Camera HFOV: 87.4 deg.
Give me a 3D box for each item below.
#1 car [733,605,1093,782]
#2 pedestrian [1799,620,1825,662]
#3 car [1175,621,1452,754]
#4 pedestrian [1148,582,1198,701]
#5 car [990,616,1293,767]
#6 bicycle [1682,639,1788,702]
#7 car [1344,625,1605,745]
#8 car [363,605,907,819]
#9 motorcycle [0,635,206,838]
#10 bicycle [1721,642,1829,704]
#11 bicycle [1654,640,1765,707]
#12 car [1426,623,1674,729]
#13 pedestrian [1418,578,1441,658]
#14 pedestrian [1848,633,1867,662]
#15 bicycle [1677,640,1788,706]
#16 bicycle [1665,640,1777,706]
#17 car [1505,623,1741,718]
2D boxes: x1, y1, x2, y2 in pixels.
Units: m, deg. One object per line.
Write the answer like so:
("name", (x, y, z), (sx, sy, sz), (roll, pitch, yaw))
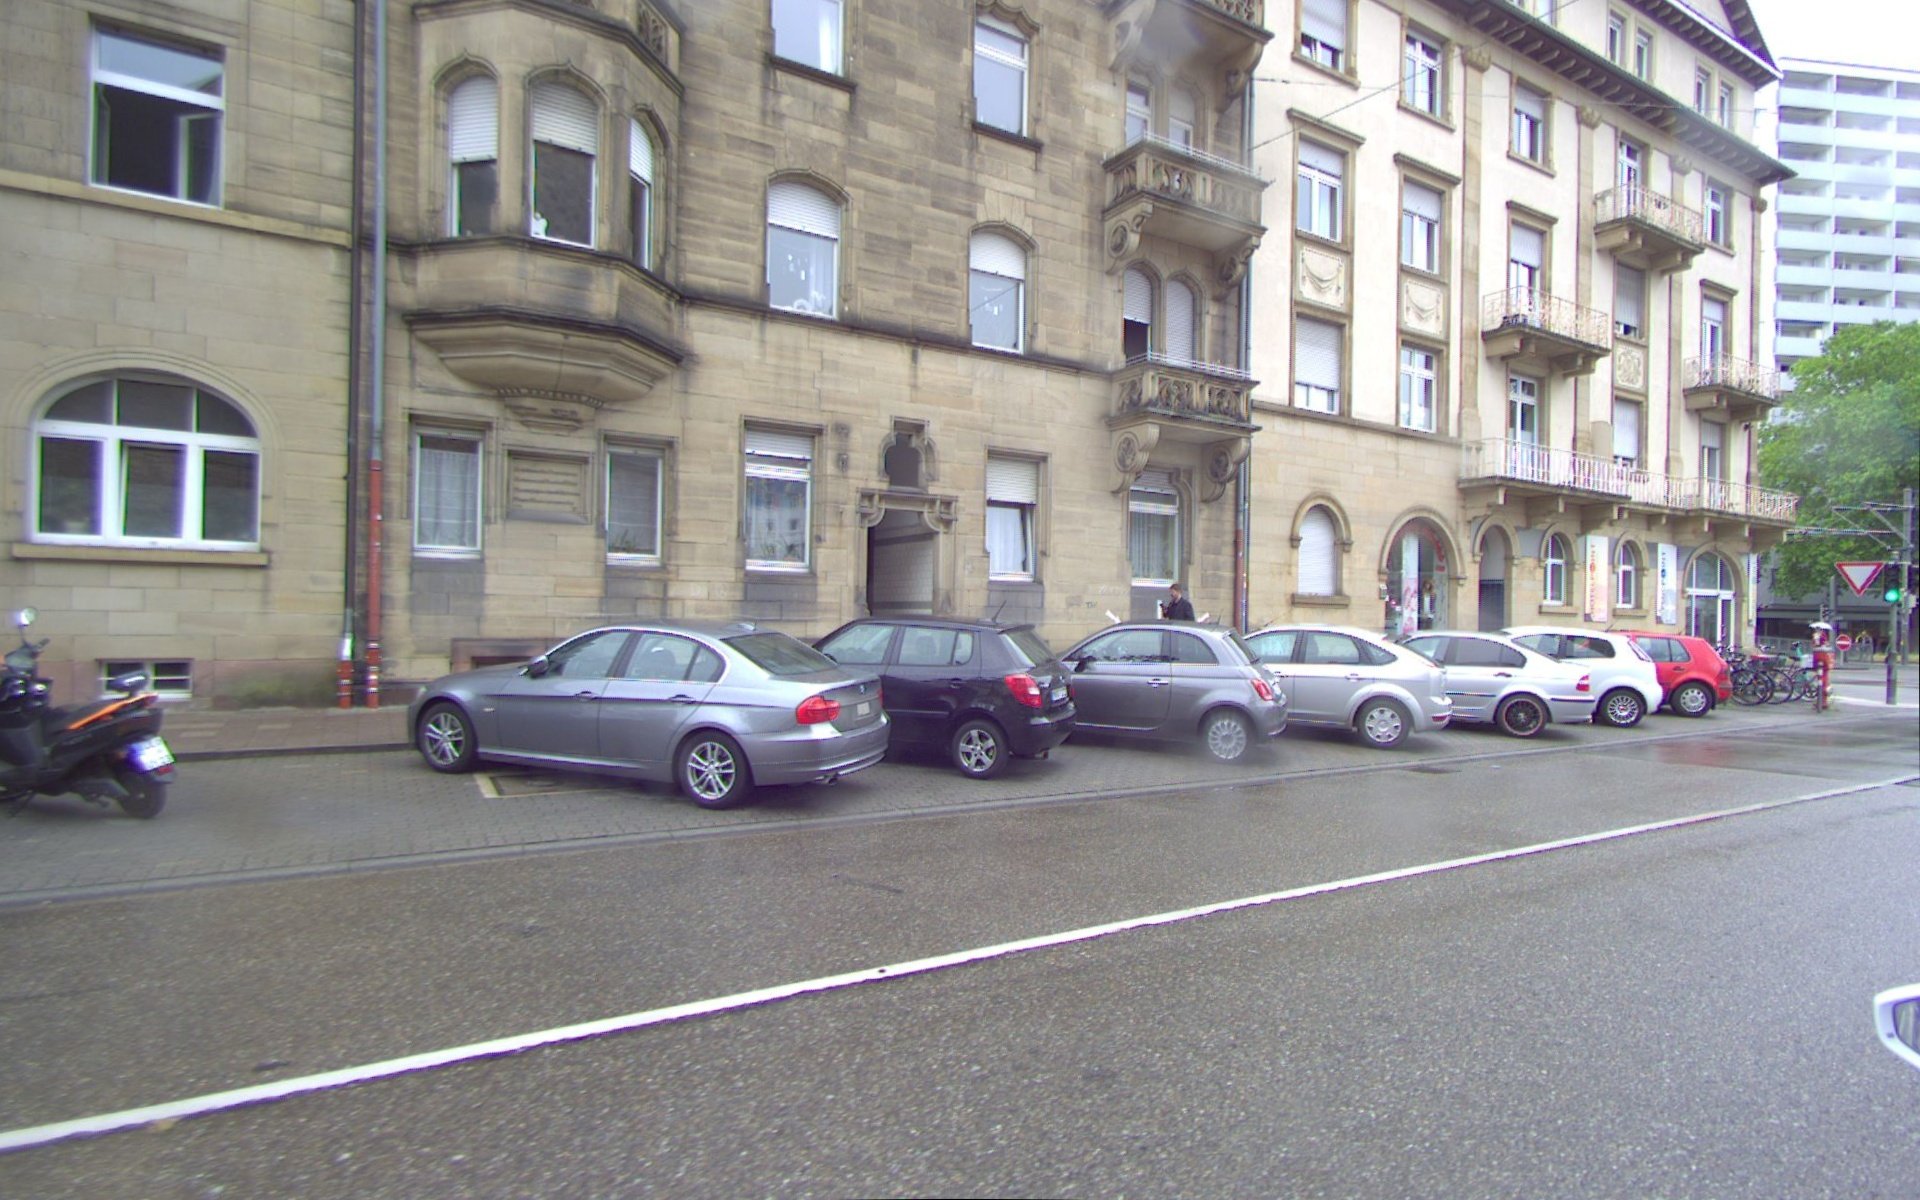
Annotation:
("car", (-0.485, 0.889, 10.736), (3.485, 1.619, 1.605), (0, -1, 22))
("pedestrian", (38.012, 1.827, 44.819), (0.683, 1.850, 0.618), (1, -1, -16))
("car", (4.743, 1.100, 13.629), (3.337, 1.578, 1.705), (0, -1, 22))
("pedestrian", (3.733, 0.716, 17.613), (0.647, 2.040, 0.565), (1, -1, -30))
("car", (2.219, 1.012, 12.139), (3.337, 1.578, 1.652), (0, -1, 22))
("bicycle", (16.970, 1.523, 22.034), (0.601, 1.283, 1.755), (1, -2, -30))
("car", (7.586, 1.200, 15.153), (3.337, 1.578, 1.705), (0, -1, 22))
("car", (-2.865, 0.860, 8.973), (4.457, 1.565, 1.689), (0, -1, 18))
("motorcycle", (-6.199, 0.888, 7.021), (1.837, 1.177, 0.633), (3, 0, 24))
("bicycle", (17.912, 1.583, 22.120), (0.601, 1.283, 1.755), (1, -2, -30))
("bicycle", (15.266, 1.478, 20.502), (0.516, 1.283, 1.755), (1, -2, -30))
("car", (9.700, 1.198, 16.811), (3.337, 1.578, 1.705), (0, -1, 22))
("pedestrian", (10.972, 0.425, 23.460), (0.343, 1.846, 0.364), (2, -2, -32))
("pedestrian", (47.329, 2.501, 52.992), (0.631, 1.550, 0.443), (1, -1, -4))
("bicycle", (16.220, 1.507, 21.144), (0.492, 1.283, 1.801), (1, -2, -30))
("bicycle", (15.724, 1.483, 20.790), (0.492, 1.283, 1.801), (1, -2, -30))
("car", (12.071, 1.240, 18.528), (3.337, 1.578, 1.705), (0, -1, 22))
